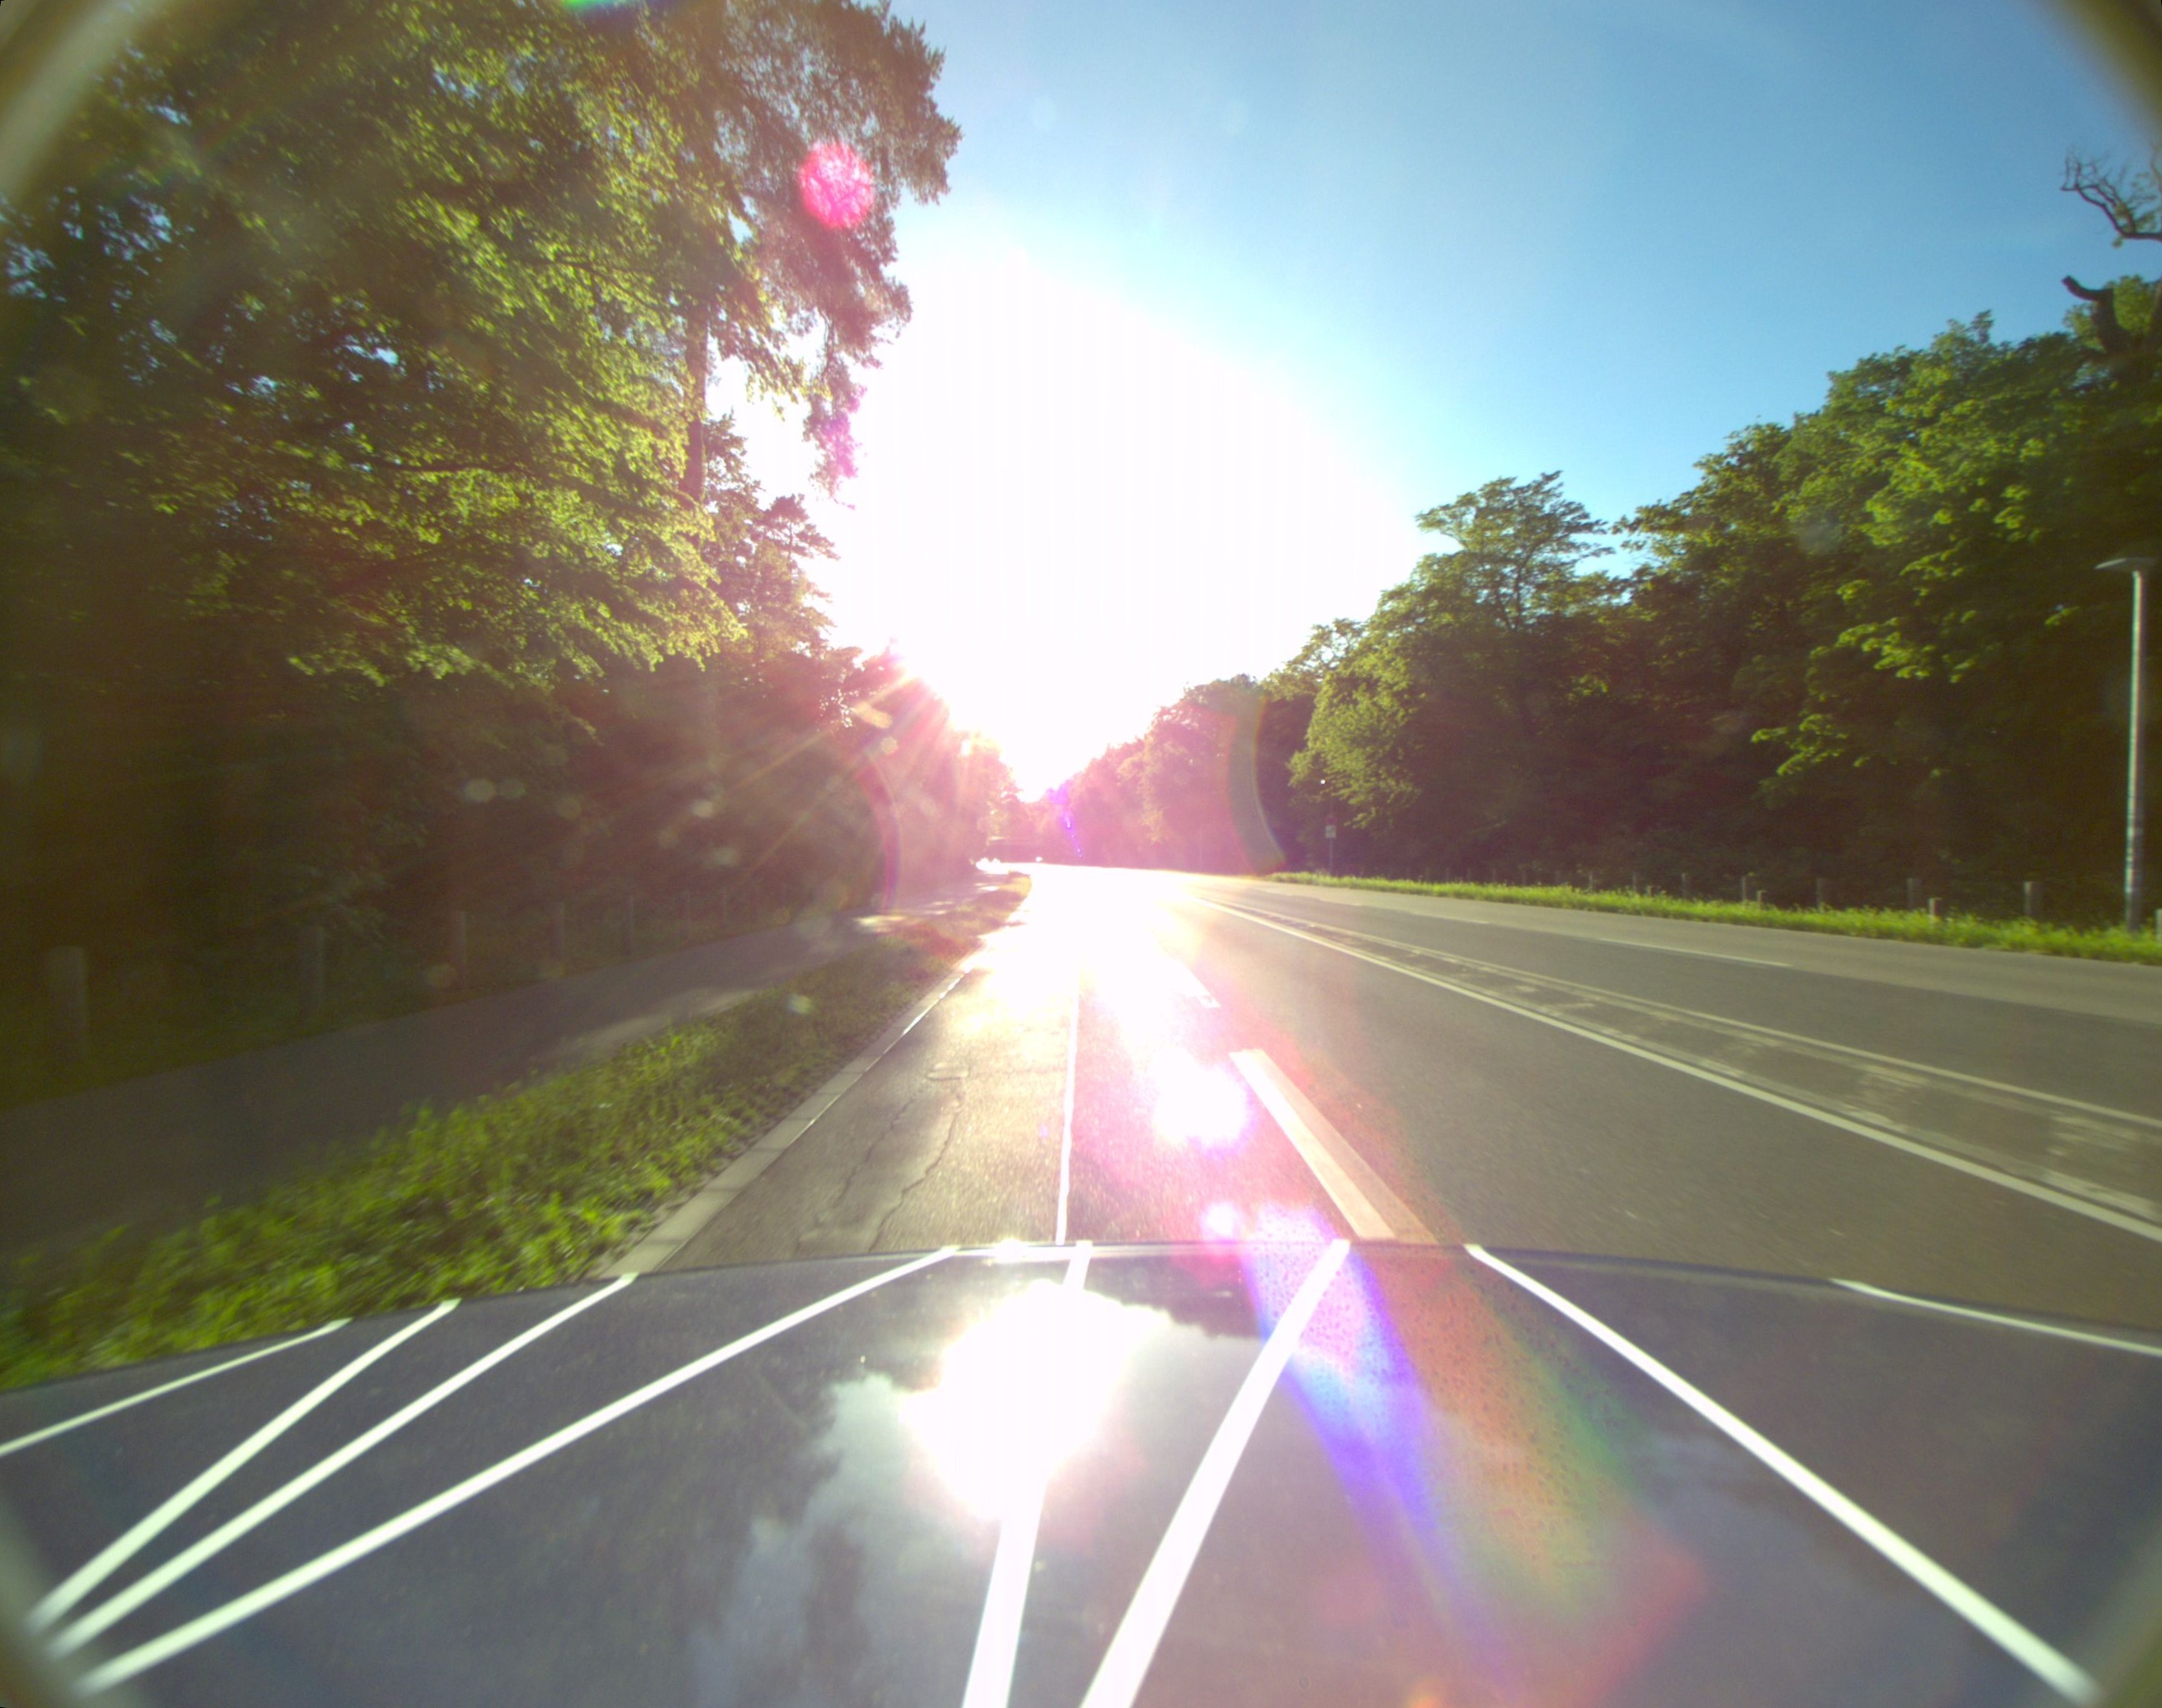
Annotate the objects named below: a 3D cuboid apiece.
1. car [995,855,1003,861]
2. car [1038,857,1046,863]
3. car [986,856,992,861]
[{"bbox_3d":[-24.681,1.134,228.159,1.828,1.674,3.995,-1,0,-13],"label":"car"},{"bbox_3d":[-9.729,1.420,187.915,1.592,1.429,4.306,-3,0,-7],"label":"car"},{"bbox_3d":[-31.411,1.404,259.465,1.828,1.674,3.995,-1,0,-14],"label":"car"}]
